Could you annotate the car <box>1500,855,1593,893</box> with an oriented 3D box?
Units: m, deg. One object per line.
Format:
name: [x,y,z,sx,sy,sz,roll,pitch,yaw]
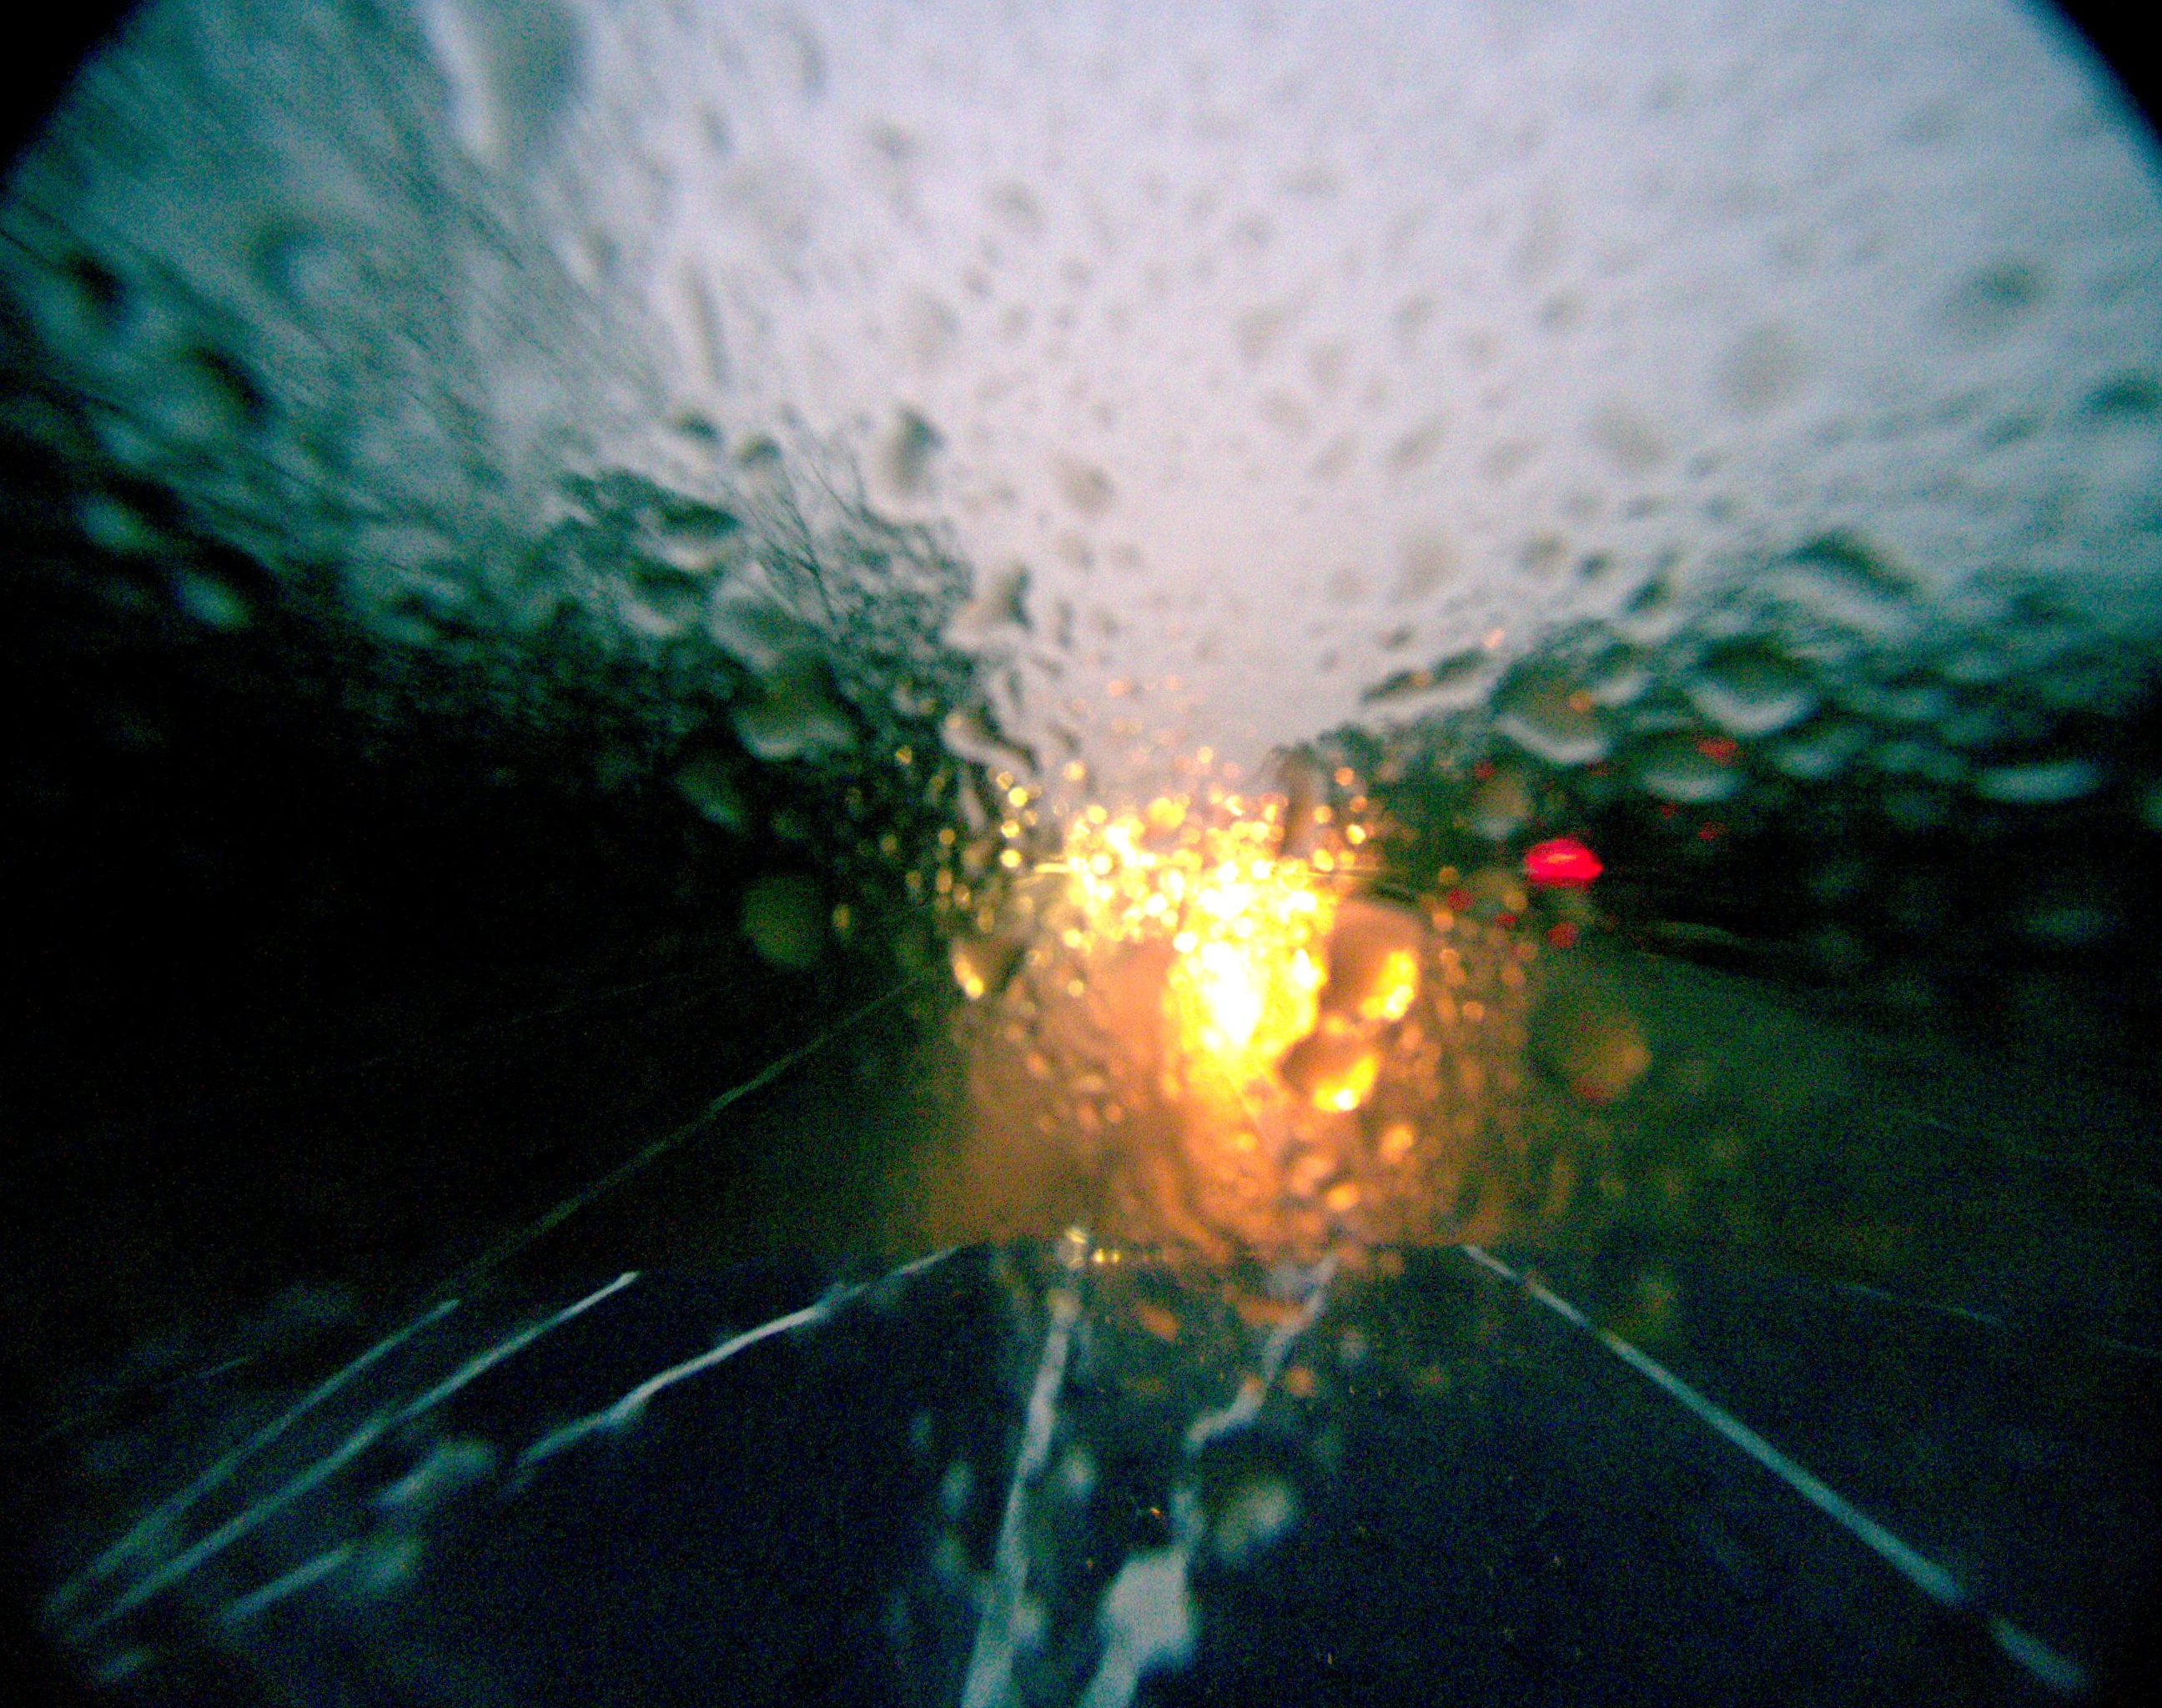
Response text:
car: [20.936,0.852,34.392,1.549,1.504,4.540,-1,1,2]

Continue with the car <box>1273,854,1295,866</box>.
car: [23.758,0.677,88.831,1.549,1.314,4.258,-2,0,2]

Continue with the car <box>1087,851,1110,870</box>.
car: [1.505,0.554,67.036,1.841,1.553,3.866,-3,0,-1]

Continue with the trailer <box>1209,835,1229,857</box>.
trailer: [31.370,-1.824,173.561,3.496,4.819,13.485,-2,0,7]

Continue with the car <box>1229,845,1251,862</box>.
car: [26.973,-0.168,128.894,2.533,2.714,6.340,-2,0,2]

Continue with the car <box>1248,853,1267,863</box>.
car: [24.732,0.533,106.467,1.714,1.314,4.473,-2,0,2]

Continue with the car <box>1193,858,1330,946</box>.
car: [3.546,0.855,15.865,1.952,1.511,4.788,0,0,3]

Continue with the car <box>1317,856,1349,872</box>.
car: [22.809,0.903,68.970,1.549,1.264,4.687,-2,0,2]
